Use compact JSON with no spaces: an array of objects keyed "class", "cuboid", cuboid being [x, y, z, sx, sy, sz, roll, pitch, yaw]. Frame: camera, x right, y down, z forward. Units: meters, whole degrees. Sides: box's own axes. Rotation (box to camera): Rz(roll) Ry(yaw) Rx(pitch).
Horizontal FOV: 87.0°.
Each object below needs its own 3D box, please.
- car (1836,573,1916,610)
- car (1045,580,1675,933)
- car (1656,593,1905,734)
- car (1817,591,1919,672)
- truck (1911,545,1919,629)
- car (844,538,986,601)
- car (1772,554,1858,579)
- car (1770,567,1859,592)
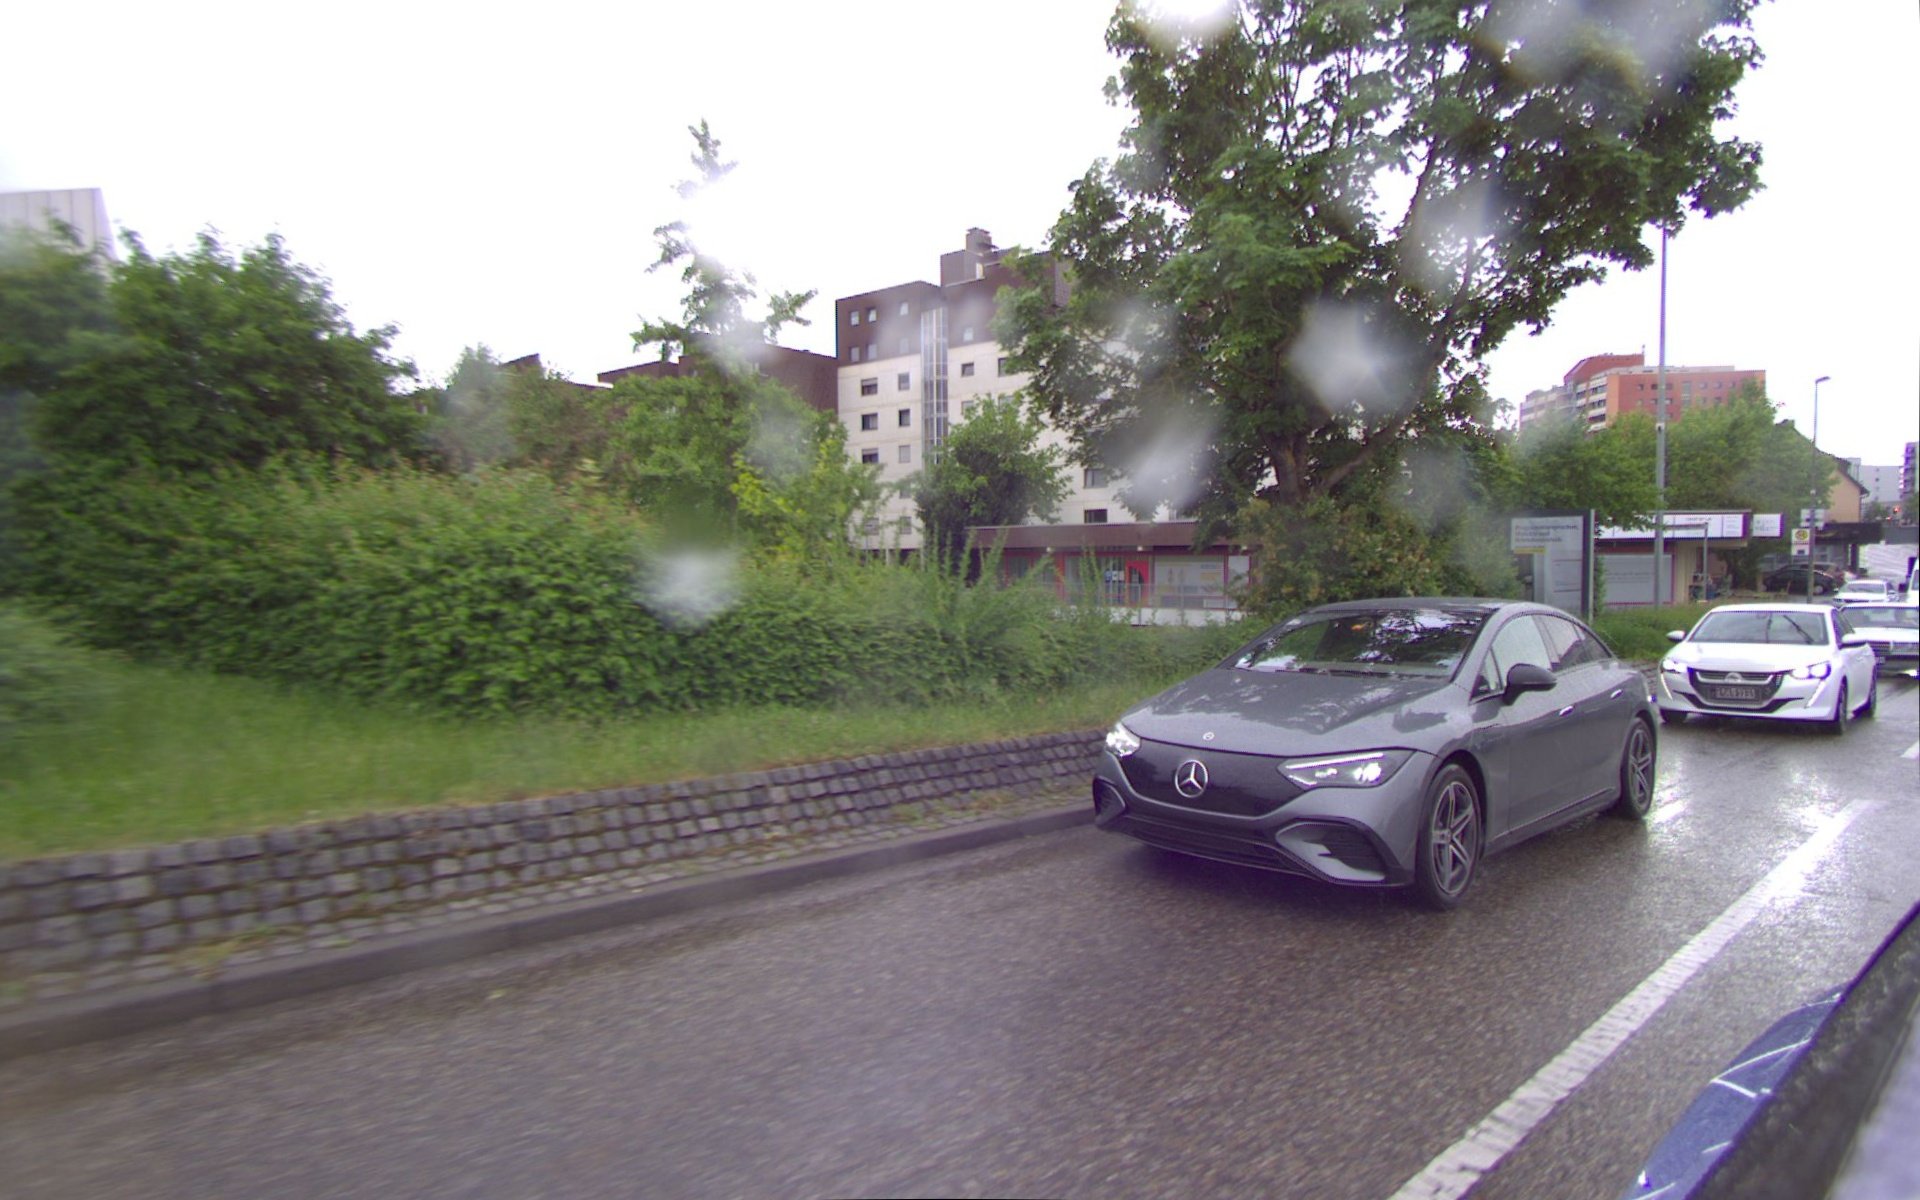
[{"class":"car","cuboid":[38.167,-0.385,42.158,3.737,1.367,1.998,-1,4,-41]},{"class":"car","cuboid":[2.755,0.623,6.366,4.471,1.462,1.834,-1,0,-41]},{"class":"car","cuboid":[10.185,0.654,12.461,3.965,1.415,1.716,-1,0,-41]},{"class":"car","cuboid":[18.043,0.548,19.555,3.670,1.394,1.716,-1,0,-41]},{"class":"truck","cuboid":[31.210,-0.417,31.190,6.092,2.470,2.167,-1,1,-41]},{"class":"car","cuboid":[-1.699,-1.281,41.790,2.774,2.300,6.700,3,3,29]},{"class":"car","cuboid":[52.439,-2.011,62.172,3.981,1.438,1.678,0,1,40]},{"class":"car","cuboid":[50.949,-1.226,60.429,3.981,1.438,1.971,0,1,40]}]
